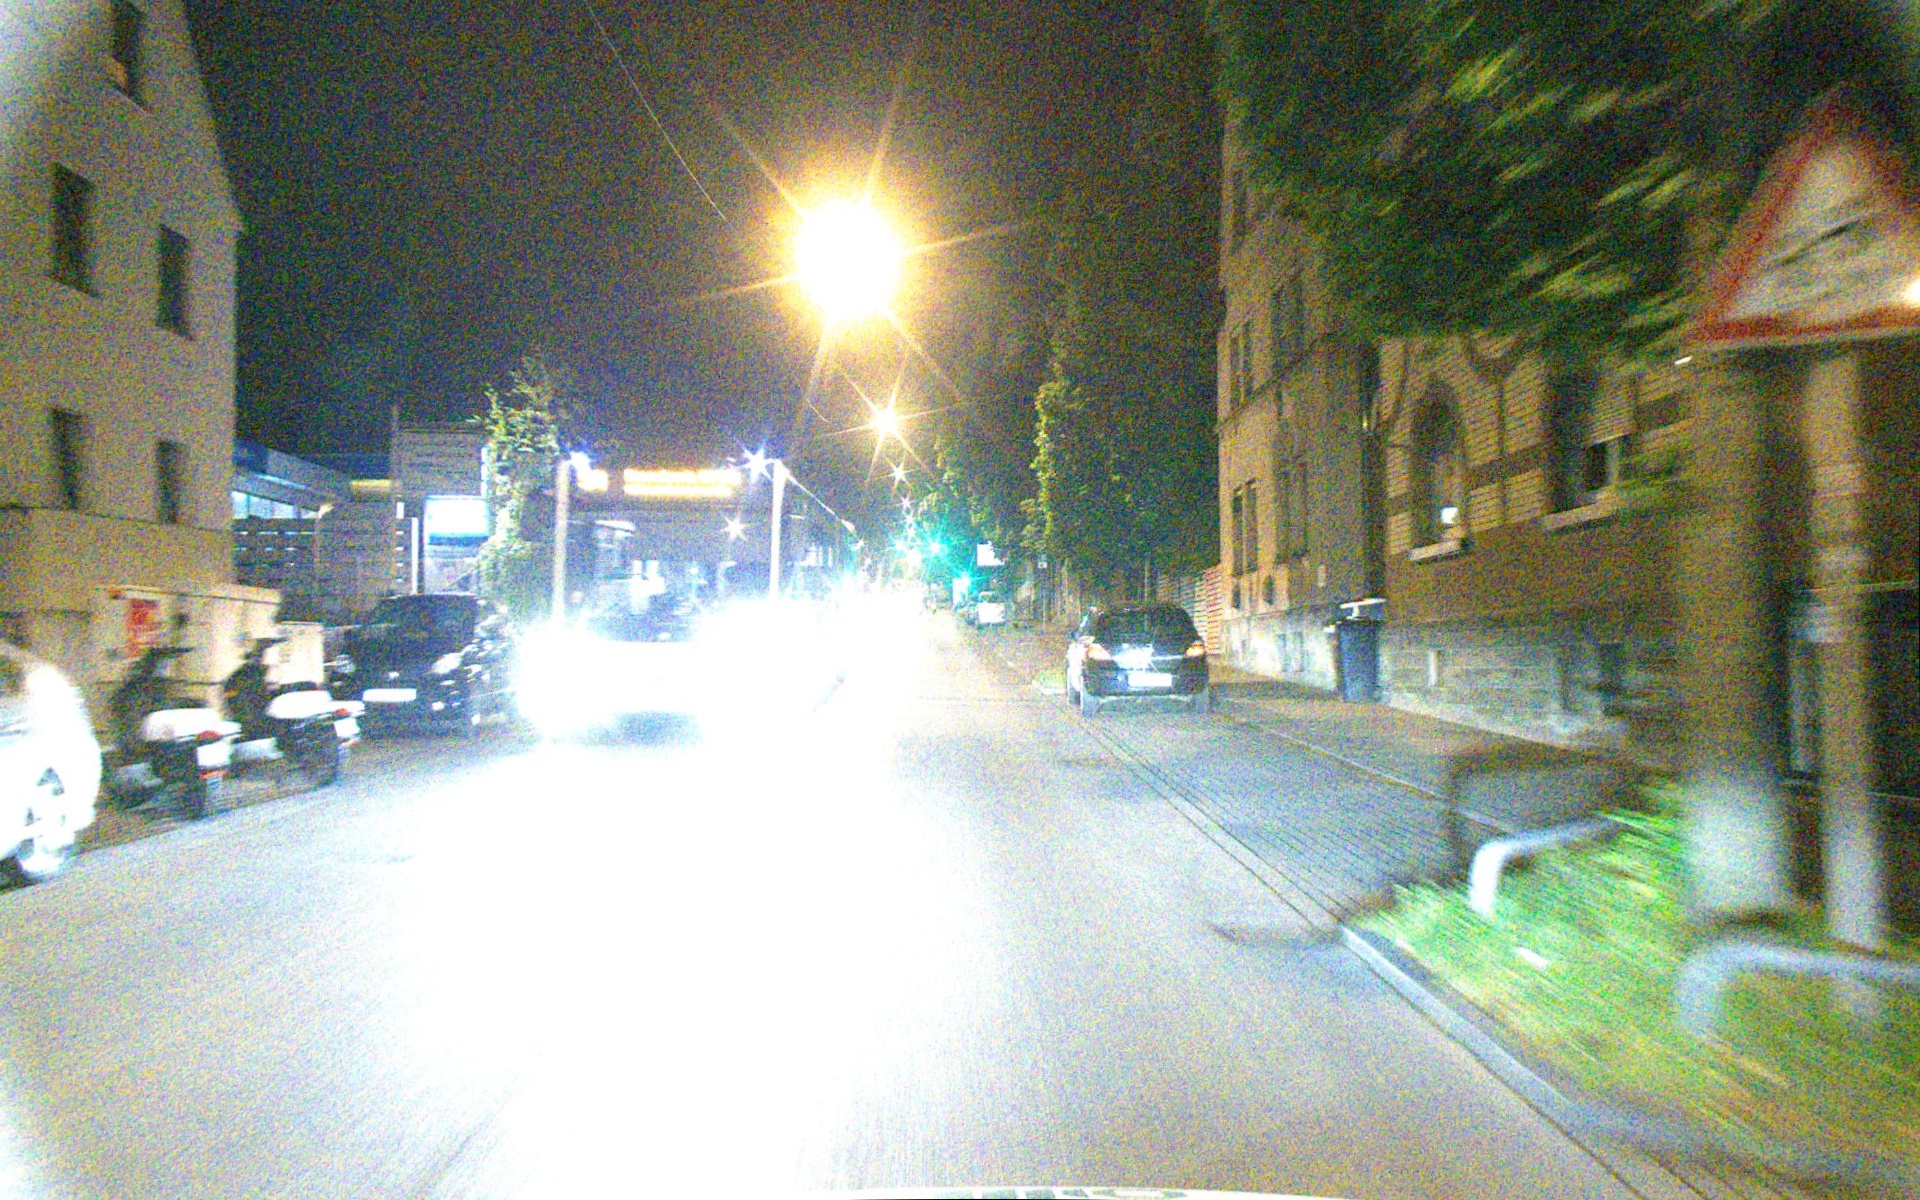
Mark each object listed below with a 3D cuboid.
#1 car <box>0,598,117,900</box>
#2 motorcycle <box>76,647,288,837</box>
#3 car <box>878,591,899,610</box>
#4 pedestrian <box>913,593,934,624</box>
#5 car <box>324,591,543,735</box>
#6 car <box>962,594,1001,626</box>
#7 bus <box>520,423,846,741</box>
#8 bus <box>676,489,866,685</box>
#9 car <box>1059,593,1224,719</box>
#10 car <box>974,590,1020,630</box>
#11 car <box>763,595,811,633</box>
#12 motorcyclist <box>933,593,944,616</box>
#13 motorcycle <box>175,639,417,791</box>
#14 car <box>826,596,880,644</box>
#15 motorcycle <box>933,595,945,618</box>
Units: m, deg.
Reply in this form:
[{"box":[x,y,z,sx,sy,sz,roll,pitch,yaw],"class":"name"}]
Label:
[{"box":[-5.656,0.781,7.410,1.670,1.517,4.226,-2,0,-2],"class":"car"},{"box":[-5.519,0.941,11.654,0.710,1.167,2.174,-1,0,-43],"class":"motorcycle"},{"box":[-7.037,0.060,162.820,1.905,1.747,3.999,1,-1,-1],"class":"car"},{"box":[-2.072,0.497,93.923,0.910,1.729,0.763,3,0,-19],"class":"pedestrian"},{"box":[-5.934,0.691,18.935,1.605,1.524,2.765,0,-1,0],"class":"car"},{"box":[1.100,0.492,85.003,1.831,1.553,4.149,-2,0,-1],"class":"car"},{"box":[-3.192,-0.197,22.196,2.780,3.233,10.496,1,0,-1],"class":"bus"},{"box":[-3.351,-0.226,31.290,2.780,3.233,7.659,1,0,-1],"class":"bus"},{"box":[2.404,0.698,22.855,1.727,1.502,4.079,-2,0,-1],"class":"car"},{"box":[1.580,0.398,71.522,1.775,1.622,4.272,-2,0,-1],"class":"car"},{"box":[-7.033,0.564,67.562,1.686,1.463,4.807,-1,0,-3],"class":"car"},{"box":[-1.700,0.376,130.664,0.831,1.783,0.805,1,-1,-1],"class":"motorcyclist"},{"box":[-5.508,0.908,13.674,2.162,1.150,0.714,-1,0,32],"class":"motorcycle"},{"box":[-3.448,0.613,53.647,1.612,1.447,3.869,-1,0,-2],"class":"car"},{"box":[-1.696,0.533,130.518,0.912,1.783,2.624,1,-1,-1],"class":"motorcycle"}]
